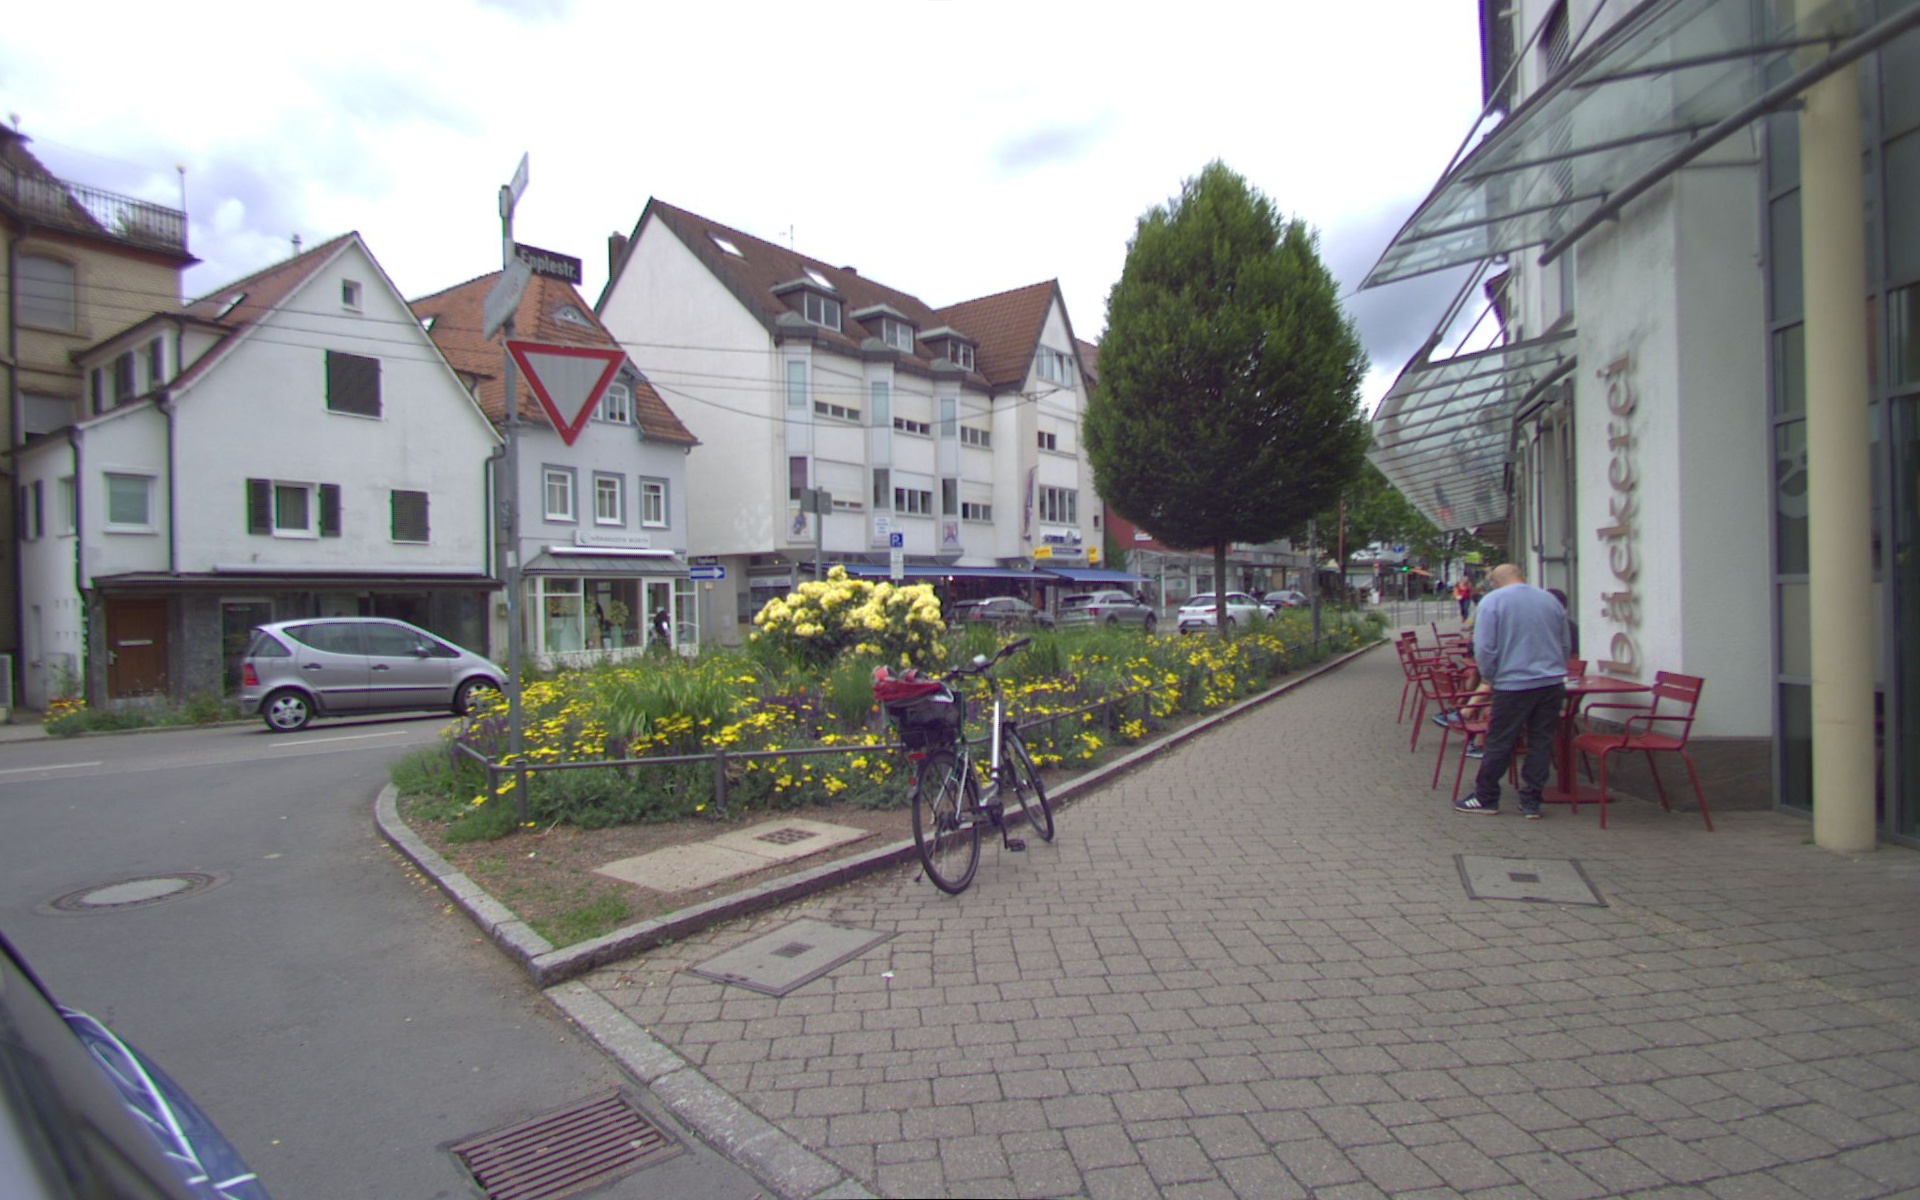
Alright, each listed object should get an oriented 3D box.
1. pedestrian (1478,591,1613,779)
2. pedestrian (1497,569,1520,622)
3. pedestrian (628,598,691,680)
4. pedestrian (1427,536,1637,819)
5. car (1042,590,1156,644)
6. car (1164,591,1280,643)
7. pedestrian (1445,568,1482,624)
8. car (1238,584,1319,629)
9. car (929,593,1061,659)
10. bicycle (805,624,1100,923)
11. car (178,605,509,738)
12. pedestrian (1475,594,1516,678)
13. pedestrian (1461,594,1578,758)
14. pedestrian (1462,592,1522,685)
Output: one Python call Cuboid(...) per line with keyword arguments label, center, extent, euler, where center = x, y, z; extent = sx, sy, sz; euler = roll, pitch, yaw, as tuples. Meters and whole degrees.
Cuboid(label="pedestrian", center=(4.429, 0.628, 7.706), extent=(0.690, 1.352, 0.654), euler=(-2, -1, 16))
Cuboid(label="pedestrian", center=(21.280, -0.158, 39.272), extent=(0.668, 2.029, 0.628), euler=(-3, -1, 33))
Cuboid(label="pedestrian", center=(-7.659, 0.986, 25.790), extent=(1.103, 2.029, 1.002), euler=(-3, -1, 35))
Cuboid(label="pedestrian", center=(3.315, 0.438, 5.949), extent=(0.859, 1.537, 0.699), euler=(-2, -1, 16))
Cuboid(label="car", center=(4.940, 0.556, 35.495), extent=(1.997, 1.745, 4.371), euler=(-3, -1, 38))
Cuboid(label="car", center=(8.671, 0.538, 33.328), extent=(3.941, 1.445, 1.851), euler=(-3, -1, -44))
Cuboid(label="pedestrian", center=(18.827, -0.150, 37.852), extent=(1.028, 2.029, 0.885), euler=(-3, -1, 35))
Cuboid(label="car", center=(13.629, 0.250, 43.197), extent=(2.037, 1.687, 4.322), euler=(-3, 0, 35))
Cuboid(label="car", center=(1.129, 0.775, 30.953), extent=(1.998, 1.868, 3.947), euler=(-3, -1, 39))
Cuboid(label="bicycle", center=(0.060, 0.805, 5.532), extent=(0.740, 1.249, 1.962), euler=(-3, 0, 27))
Cuboid(label="car", center=(-8.993, 0.973, 14.989), extent=(3.933, 1.640, 1.901), euler=(-1, -2, -33))
Cuboid(label="pedestrian", center=(8.352, 0.554, 15.789), extent=(0.499, 1.281, 0.487), euler=(-3, -1, 29))
Cuboid(label="pedestrian", center=(4.811, 0.639, 8.754), extent=(0.678, 1.342, 0.699), euler=(-2, -1, 16))
Cuboid(label="pedestrian", center=(7.841, 0.555, 14.927), extent=(0.761, 1.327, 0.563), euler=(0, 0, 29))
